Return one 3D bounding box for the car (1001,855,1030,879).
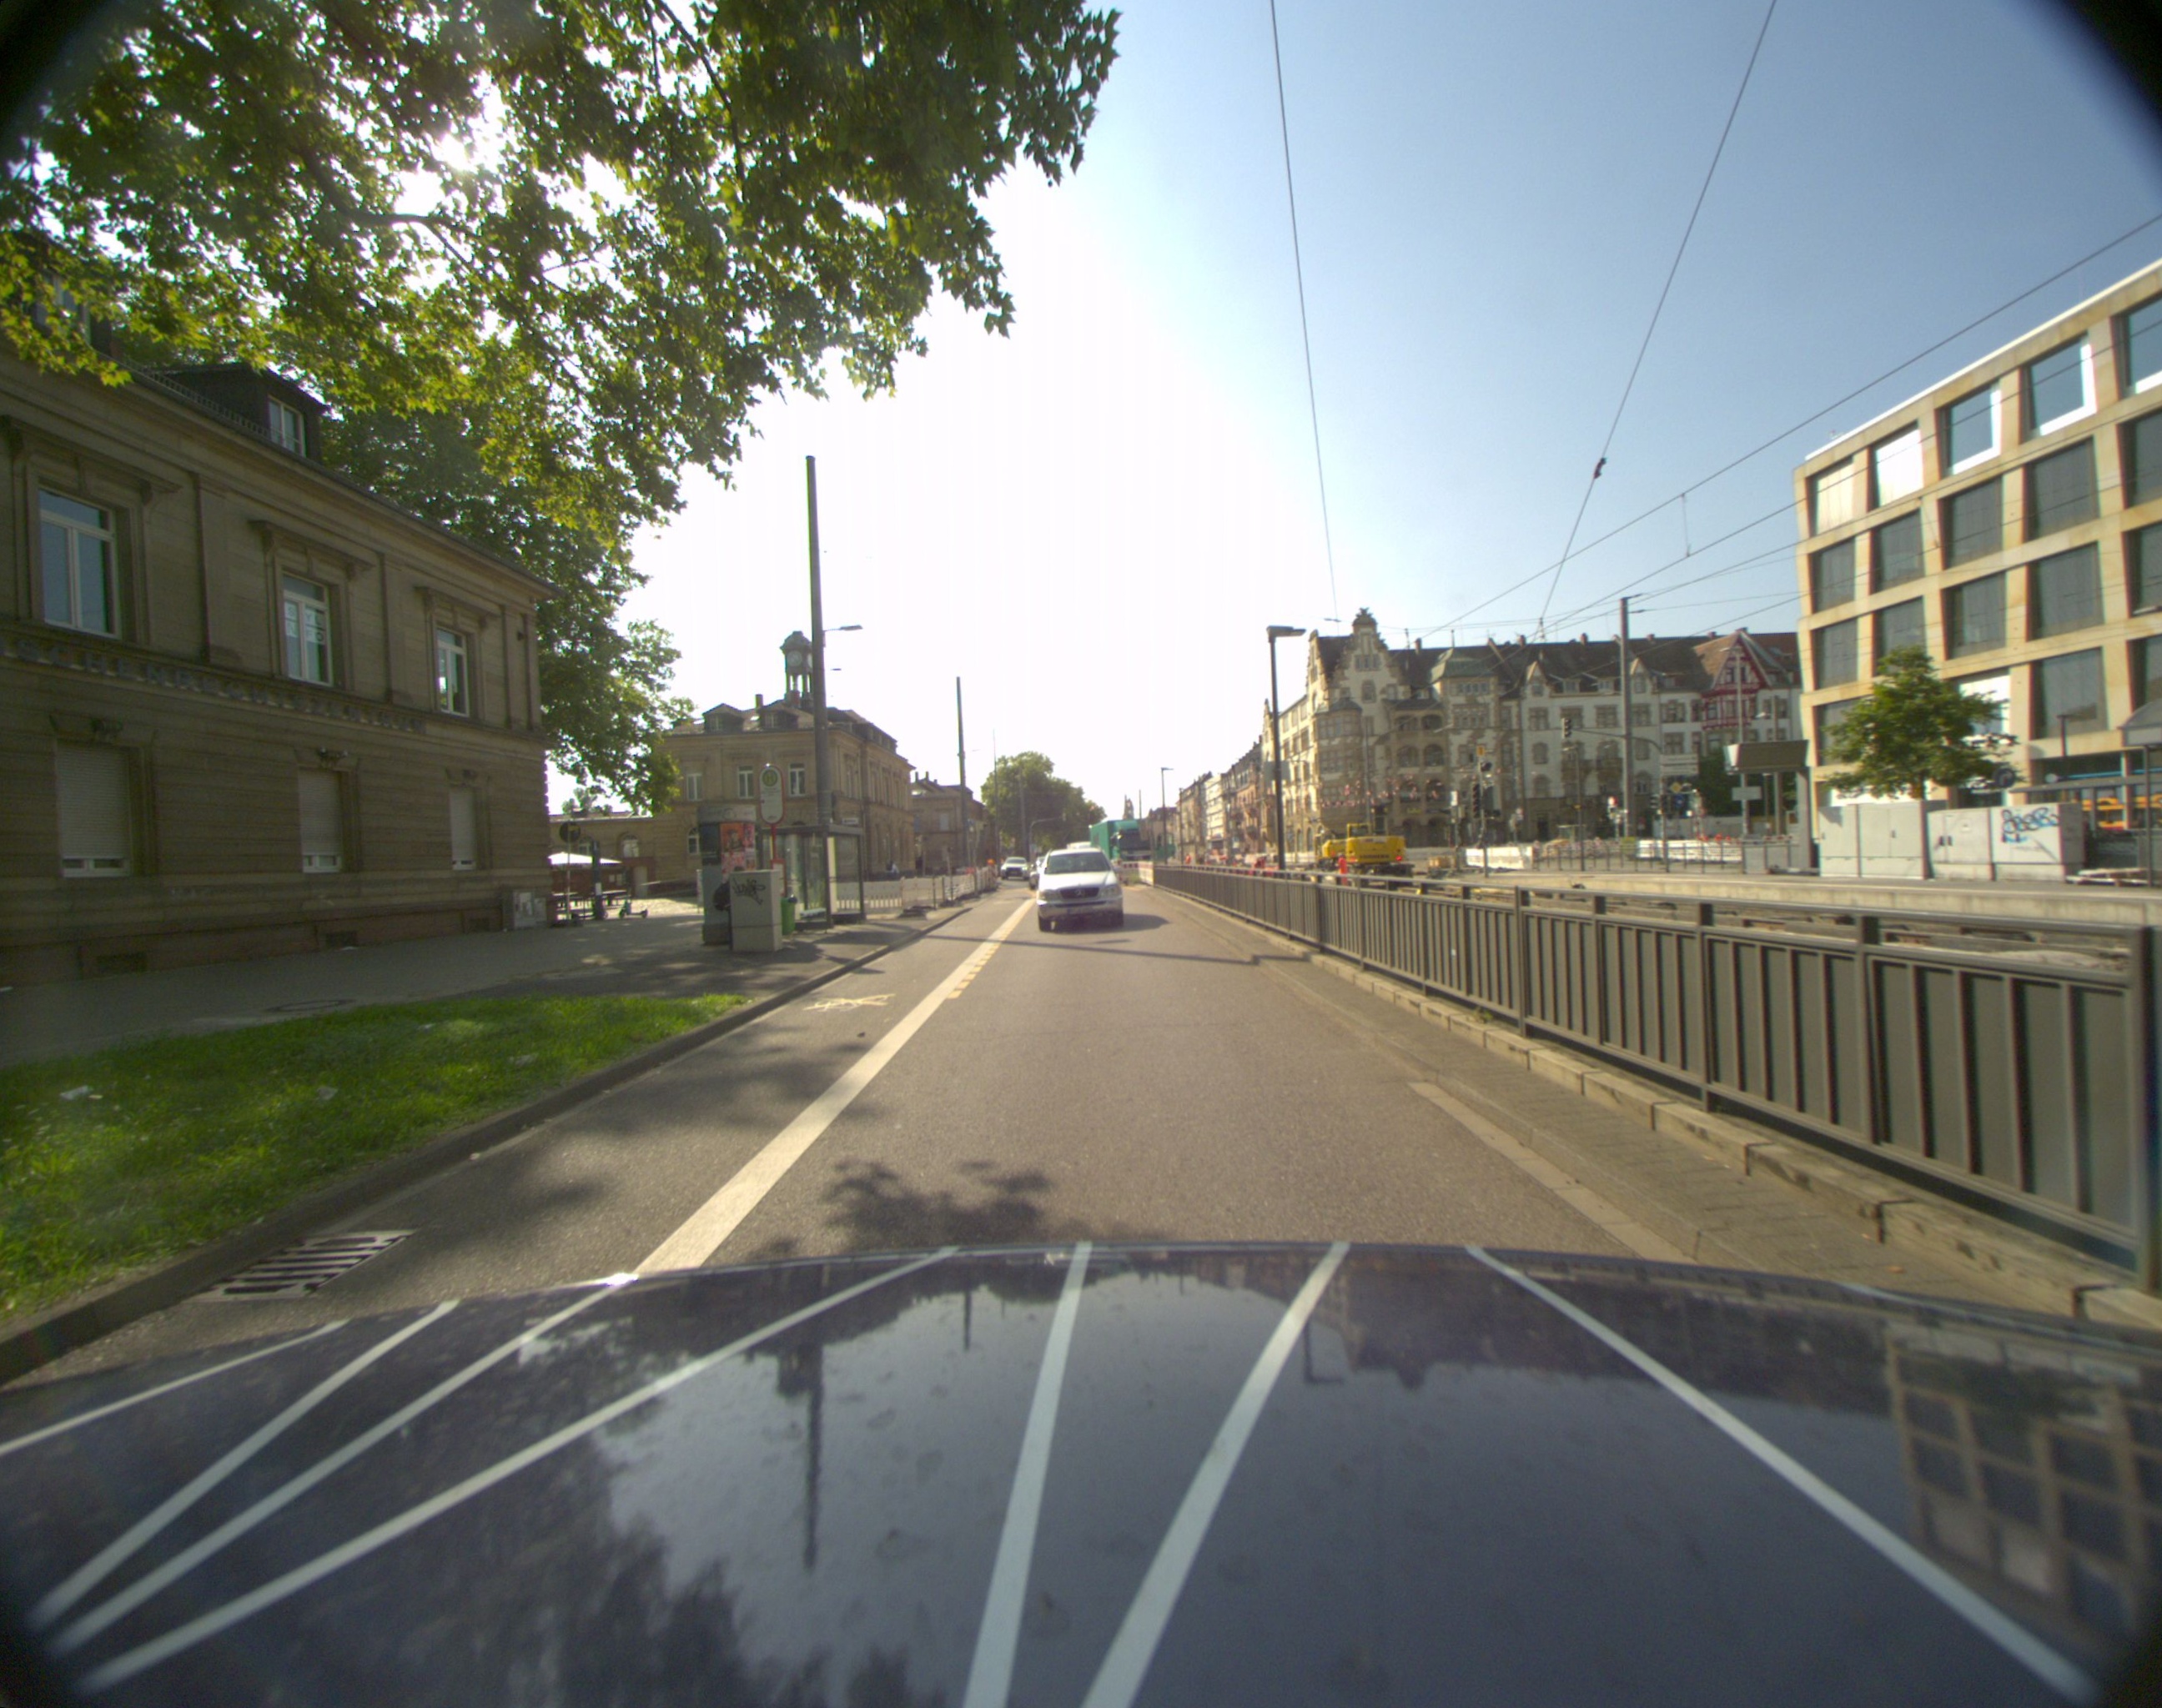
[{"bbox_3d":[-5.085,0.991,58.520,2.000,1.685,5.222,-2,0,-7],"label":"car"}]

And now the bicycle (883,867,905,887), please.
[{"bbox_3d":[-9.961,1.217,40.504,0.719,1.035,1.903,-2,0,-2],"label":"bicycle"}]

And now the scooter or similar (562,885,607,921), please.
[{"bbox_3d":[-17.353,1.701,26.591,1.257,1.202,0.422,-1,-2,-24],"label":"scooter or similar"}]

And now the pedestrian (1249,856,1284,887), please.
[{"bbox_3d":[8.152,0.757,33.361,1.313,1.299,0.800,-2,0,25],"label":"pedestrian"}]

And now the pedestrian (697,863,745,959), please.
[{"bbox_3d":[-6.610,1.023,13.977,0.690,1.687,0.647,-2,0,-20],"label":"pedestrian"}]

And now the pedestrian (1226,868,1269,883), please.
[{"bbox_3d":[8.057,1.045,36.883,1.906,0.632,0.913,-2,0,4],"label":"pedestrian"}]

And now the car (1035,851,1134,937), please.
[{"bbox_3d":[0.026,0.829,18.253,1.999,1.685,5.225,-2,0,-1],"label":"car"}]

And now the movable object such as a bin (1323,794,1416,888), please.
[{"bbox_3d":[14.342,-0.553,37.234,3.507,3.989,9.056,-2,0,25],"label":"movable object such as a bin"}]

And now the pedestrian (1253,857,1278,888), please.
[{"bbox_3d":[7.889,0.776,32.471,0.838,1.299,0.800,-2,0,25],"label":"pedestrian"}]

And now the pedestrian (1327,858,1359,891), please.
[{"bbox_3d":[11.022,0.855,31.955,1.017,1.299,0.983,-2,0,4],"label":"pedestrian"}]

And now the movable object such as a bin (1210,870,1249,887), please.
[{"bbox_3d":[6.247,1.049,31.930,1.507,0.648,0.702,-2,0,22],"label":"movable object such as a bin"}]

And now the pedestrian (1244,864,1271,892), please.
[{"bbox_3d":[8.048,1.093,34.635,0.983,1.183,0.800,-2,0,25],"label":"pedestrian"}]

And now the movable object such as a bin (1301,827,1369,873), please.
[{"bbox_3d":[20.226,-0.317,61.090,2.853,3.310,8.347,-2,0,2],"label":"movable object such as a bin"}]

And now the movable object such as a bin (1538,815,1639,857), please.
[{"bbox_3d":[35.885,-1.250,53.791,5.627,2.723,2.135,-2,0,0],"label":"movable object such as a bin"}]

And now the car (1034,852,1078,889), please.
[{"bbox_3d":[-1.308,0.819,38.550,1.999,1.685,5.224,-2,0,-3],"label":"car"}]

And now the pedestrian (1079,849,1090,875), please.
[{"bbox_3d":[0.262,0.610,59.480,0.735,2.002,0.907,-2,0,6],"label":"pedestrian"}]

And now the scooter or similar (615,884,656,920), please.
[{"bbox_3d":[-15.847,1.700,27.056,0.421,1.202,1.257,-2,-2,23],"label":"scooter or similar"}]

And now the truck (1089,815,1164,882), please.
[{"bbox_3d":[2.596,-0.266,46.280,2.683,3.656,8.208,-2,0,-9],"label":"truck"}]

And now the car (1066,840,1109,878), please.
[{"bbox_3d":[0.430,0.395,57.923,2.232,2.713,5.166,-2,0,-11],"label":"car"}]

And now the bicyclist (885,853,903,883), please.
[{"bbox_3d":[-9.983,0.742,40.542,0.719,1.534,0.955,-2,0,-2],"label":"bicyclist"}]
